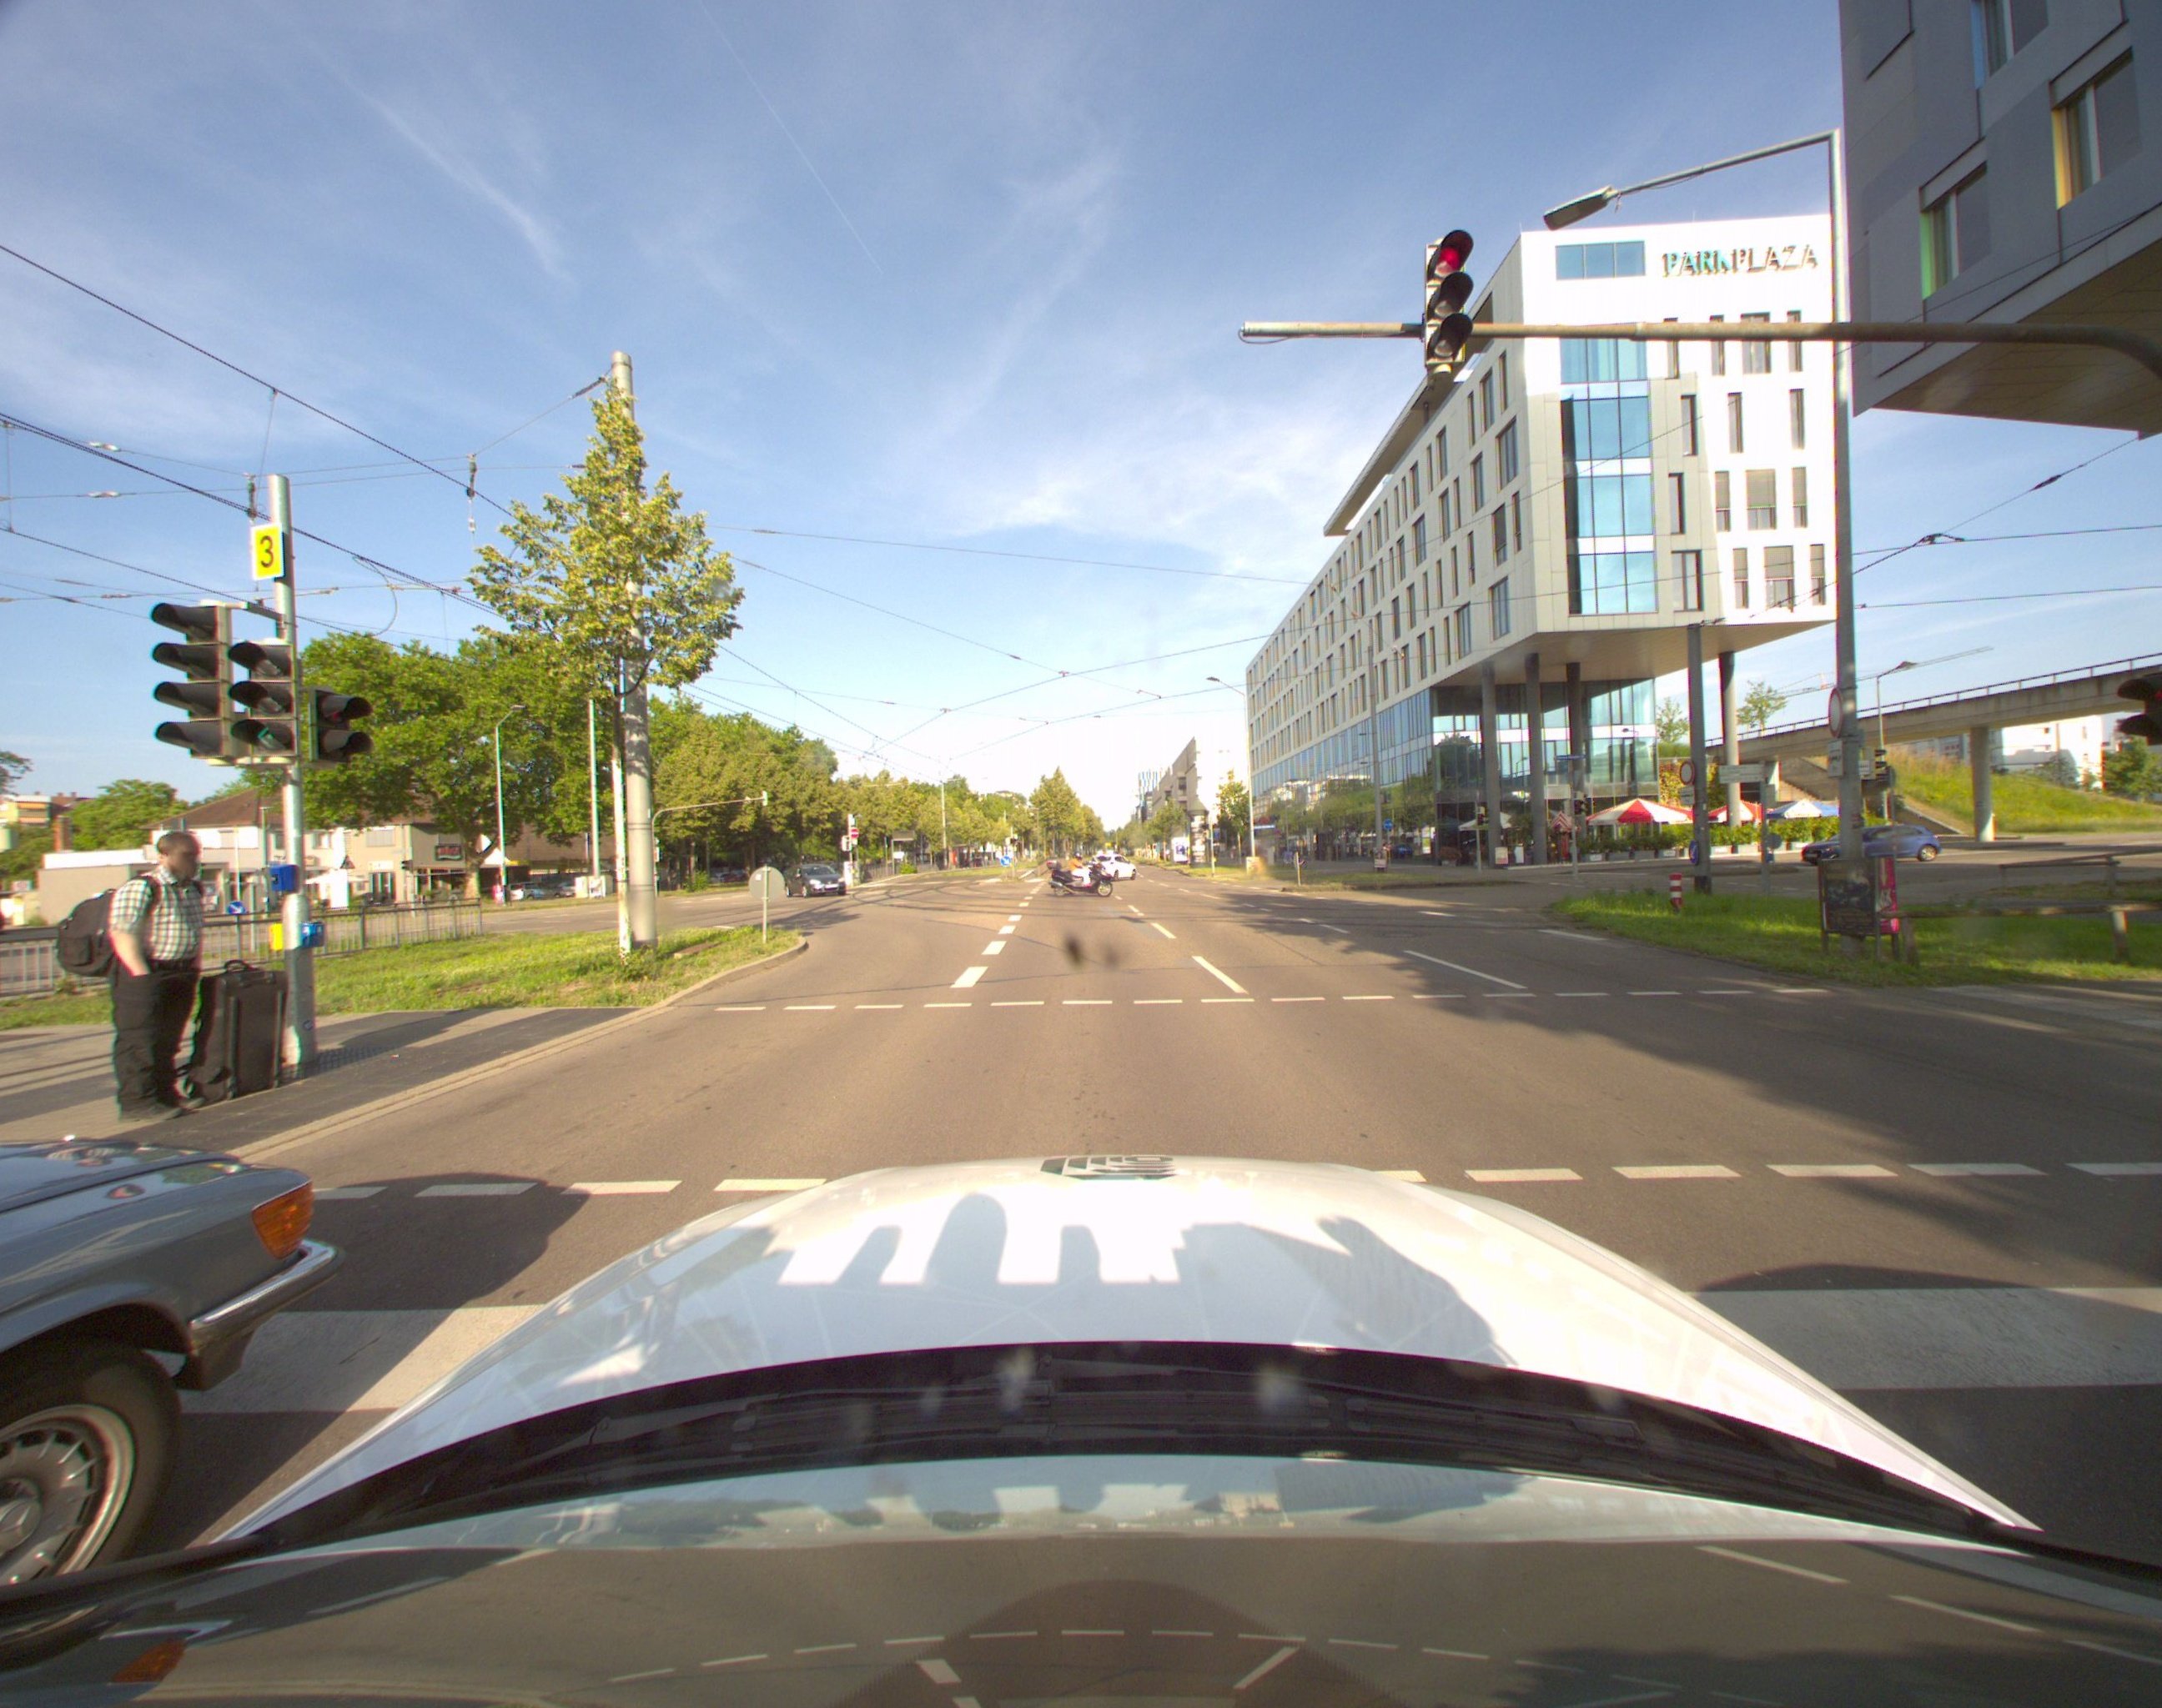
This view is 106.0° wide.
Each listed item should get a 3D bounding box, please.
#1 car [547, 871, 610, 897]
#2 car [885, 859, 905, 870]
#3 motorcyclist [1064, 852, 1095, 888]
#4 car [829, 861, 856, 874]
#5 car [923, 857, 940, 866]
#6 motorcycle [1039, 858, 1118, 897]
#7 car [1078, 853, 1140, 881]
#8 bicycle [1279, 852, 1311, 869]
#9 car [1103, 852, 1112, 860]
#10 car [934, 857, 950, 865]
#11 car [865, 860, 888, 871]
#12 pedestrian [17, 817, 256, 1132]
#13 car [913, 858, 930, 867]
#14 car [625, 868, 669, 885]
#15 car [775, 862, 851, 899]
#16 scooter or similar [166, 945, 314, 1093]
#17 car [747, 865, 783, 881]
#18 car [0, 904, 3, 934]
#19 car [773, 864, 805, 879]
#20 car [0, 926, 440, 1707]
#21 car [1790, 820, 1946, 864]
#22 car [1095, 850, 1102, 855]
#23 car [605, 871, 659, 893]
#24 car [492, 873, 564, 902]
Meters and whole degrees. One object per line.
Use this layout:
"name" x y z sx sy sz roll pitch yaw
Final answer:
"car" -37.710 2.245 61.203 1.871 1.750 4.008 -3 0 7
"car" -29.700 1.651 130.020 1.871 1.559 4.008 -3 0 7
"motorcyclist" -0.050 0.525 27.560 0.838 1.202 0.789 0 0 20
"car" -32.098 1.782 109.659 1.871 1.559 4.008 -3 0 7
"car" -27.540 1.409 150.407 1.871 1.559 4.008 -3 0 7
"motorcycle" -0.089 0.778 27.537 2.519 1.263 0.825 -1 0 20
"car" 1.599 0.695 45.182 1.975 1.504 4.116 0 0 25
"bicycle" 13.877 0.401 52.814 0.778 1.032 1.856 -2 2 -42
"car" 5.818 0.413 179.268 1.857 1.684 4.003 0 1 2
"car" -26.788 1.340 156.817 1.871 1.559 4.008 -3 0 7
"car" -30.665 1.738 122.115 1.871 1.559 4.008 -3 0 7
"pedestrian" -5.712 0.689 4.965 0.697 1.792 0.636 -1 0 2
"car" -28.368 1.475 144.937 1.871 1.559 4.008 -3 0 7
"car" -43.780 2.221 82.163 1.871 1.559 4.008 -3 0 7
"car" -12.040 1.136 36.437 1.743 1.461 4.522 -5 2 -38
"scooter or similar" -5.664 1.096 5.503 0.546 0.907 0.430 -1 0 2
"car" -34.745 2.041 89.602 1.871 1.559 4.008 -3 0 7
"car" -63.530 3.794 45.643 3.964 1.728 2.005 -2 0 8
"car" -34.055 2.066 95.161 1.871 1.559 4.008 -3 0 7
"car" -2.846 0.912 0.235 1.757 1.330 4.401 -1 1 1
"car" 30.233 -0.461 31.380 4.170 1.424 1.859 -3 0 1
"car" 5.551 -0.531 258.390 2.007 1.684 4.002 0 1 2
"car" -37.021 2.276 67.246 1.871 1.559 4.008 -3 0 7
"car" -38.228 2.295 56.453 1.871 1.750 4.008 -3 0 7
